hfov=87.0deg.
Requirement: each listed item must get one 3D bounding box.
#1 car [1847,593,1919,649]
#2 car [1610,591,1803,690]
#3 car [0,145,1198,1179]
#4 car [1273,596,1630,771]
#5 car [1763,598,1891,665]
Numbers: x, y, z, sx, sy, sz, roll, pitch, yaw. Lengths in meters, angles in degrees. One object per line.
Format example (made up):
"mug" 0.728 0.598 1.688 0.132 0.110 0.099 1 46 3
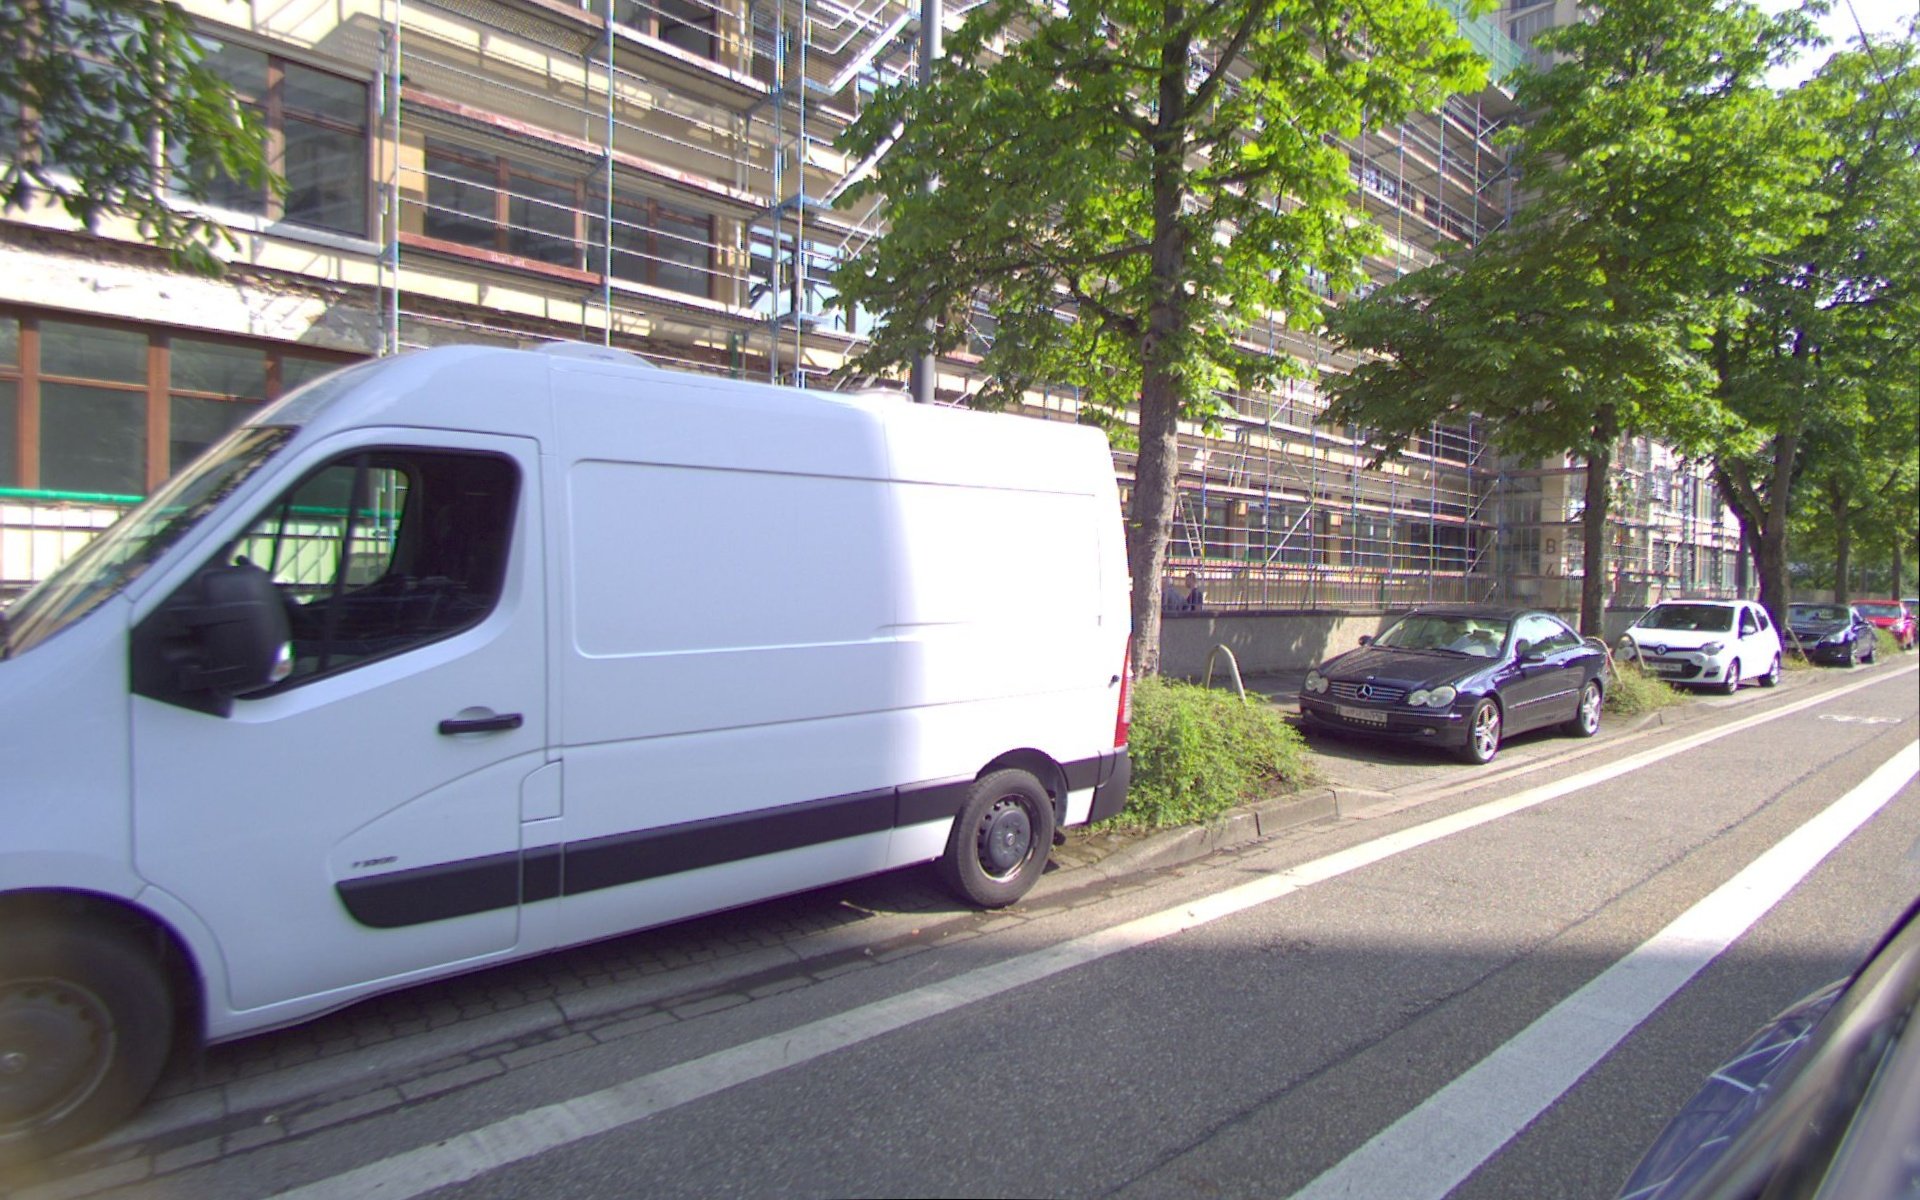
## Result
"car" 28.039 0.599 30.454 3.583 1.594 1.531 0 0 -41
"car" 12.536 0.608 16.929 3.822 1.475 1.569 0 0 -37
"car" -1.596 0.117 4.644 5.815 2.598 2.128 0 3 -41
"car" 5.332 0.715 10.709 4.429 1.388 1.738 0 3 -41
"car" 20.062 0.671 23.378 3.567 1.416 1.735 0 0 -41
